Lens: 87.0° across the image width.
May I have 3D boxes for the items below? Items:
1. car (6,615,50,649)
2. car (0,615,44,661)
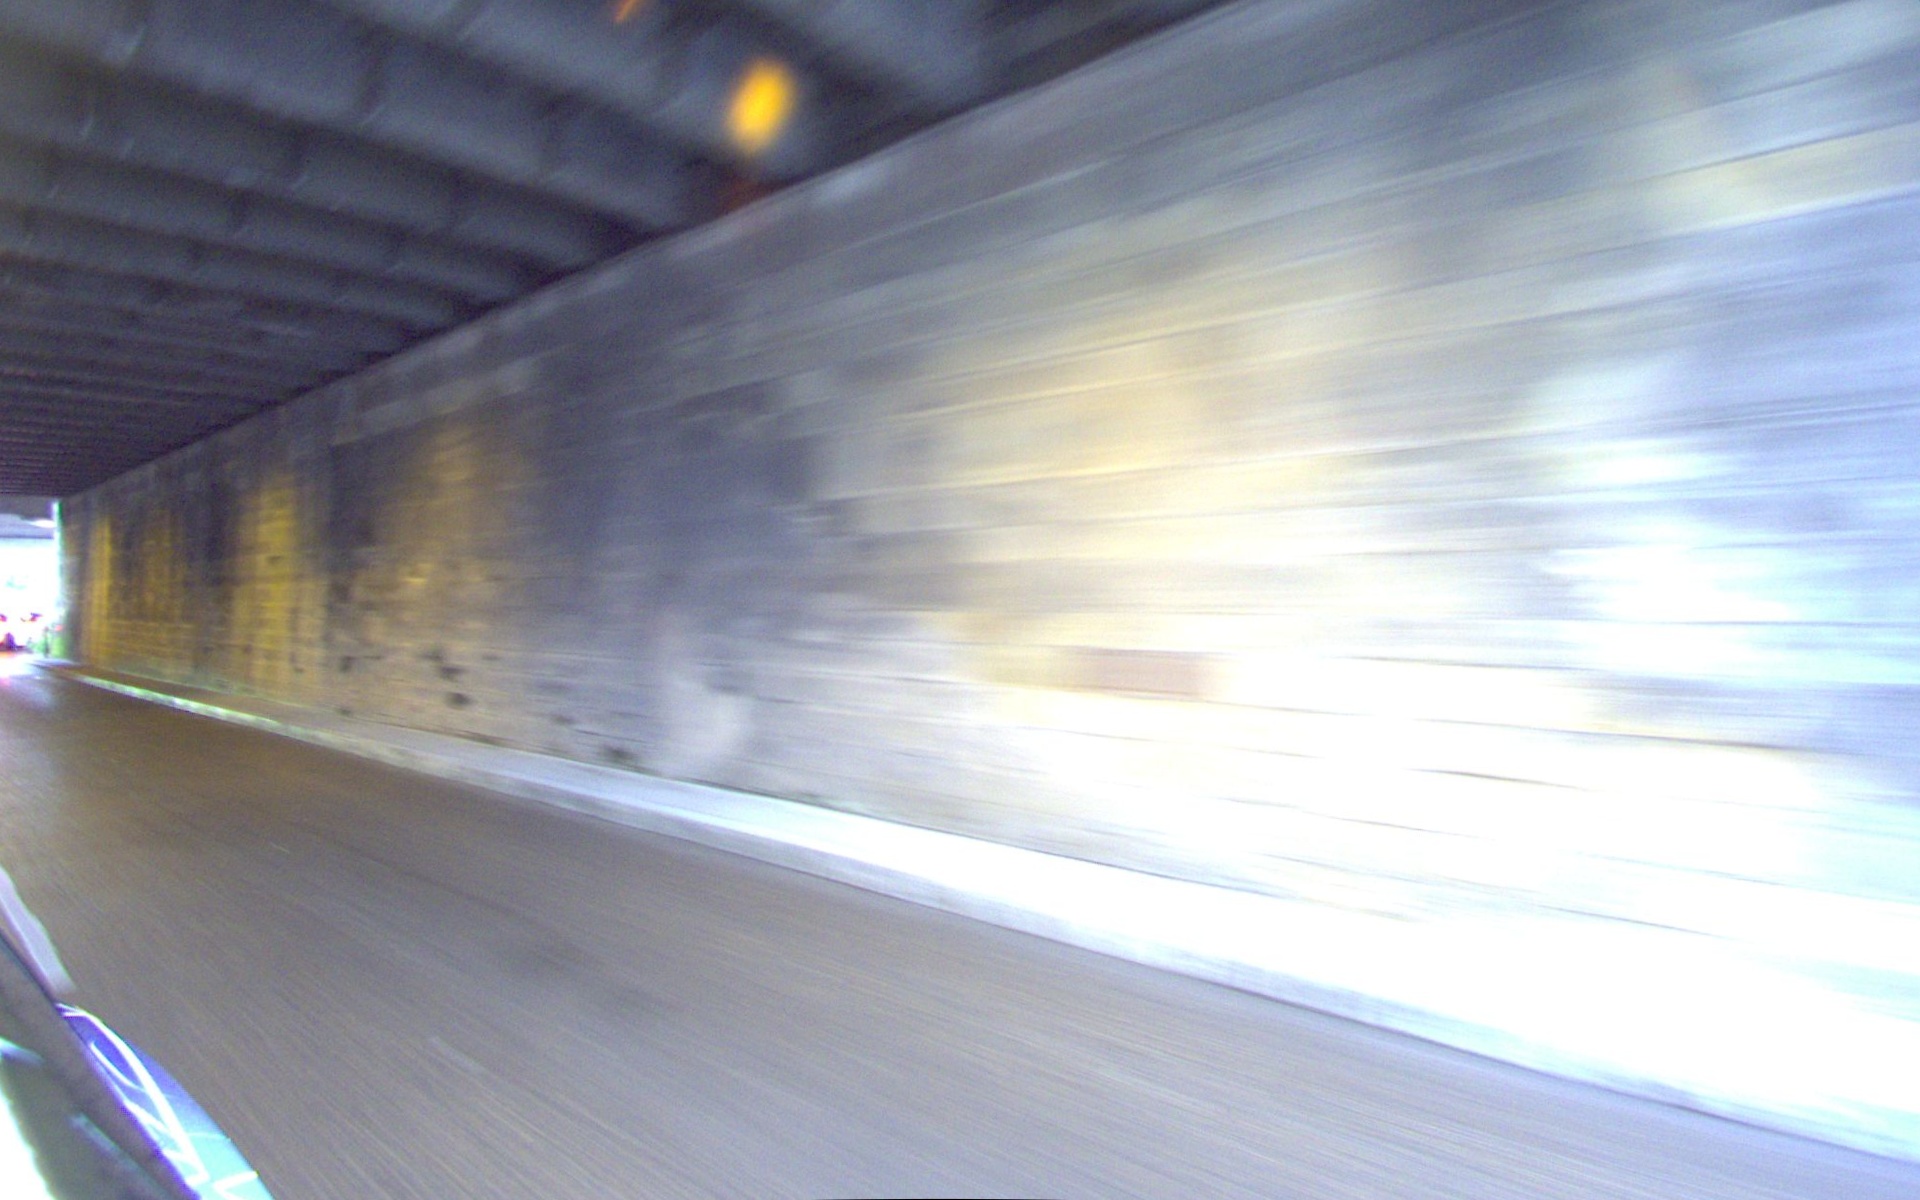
[{"bbox_3d":[-38.533,1.304,41.827,1.259,1.326,3.323,0,0,-44],"label":"car"},{"bbox_3d":[-34.434,1.331,36.847,1.571,1.554,4.077,0,0,-43],"label":"car"}]
